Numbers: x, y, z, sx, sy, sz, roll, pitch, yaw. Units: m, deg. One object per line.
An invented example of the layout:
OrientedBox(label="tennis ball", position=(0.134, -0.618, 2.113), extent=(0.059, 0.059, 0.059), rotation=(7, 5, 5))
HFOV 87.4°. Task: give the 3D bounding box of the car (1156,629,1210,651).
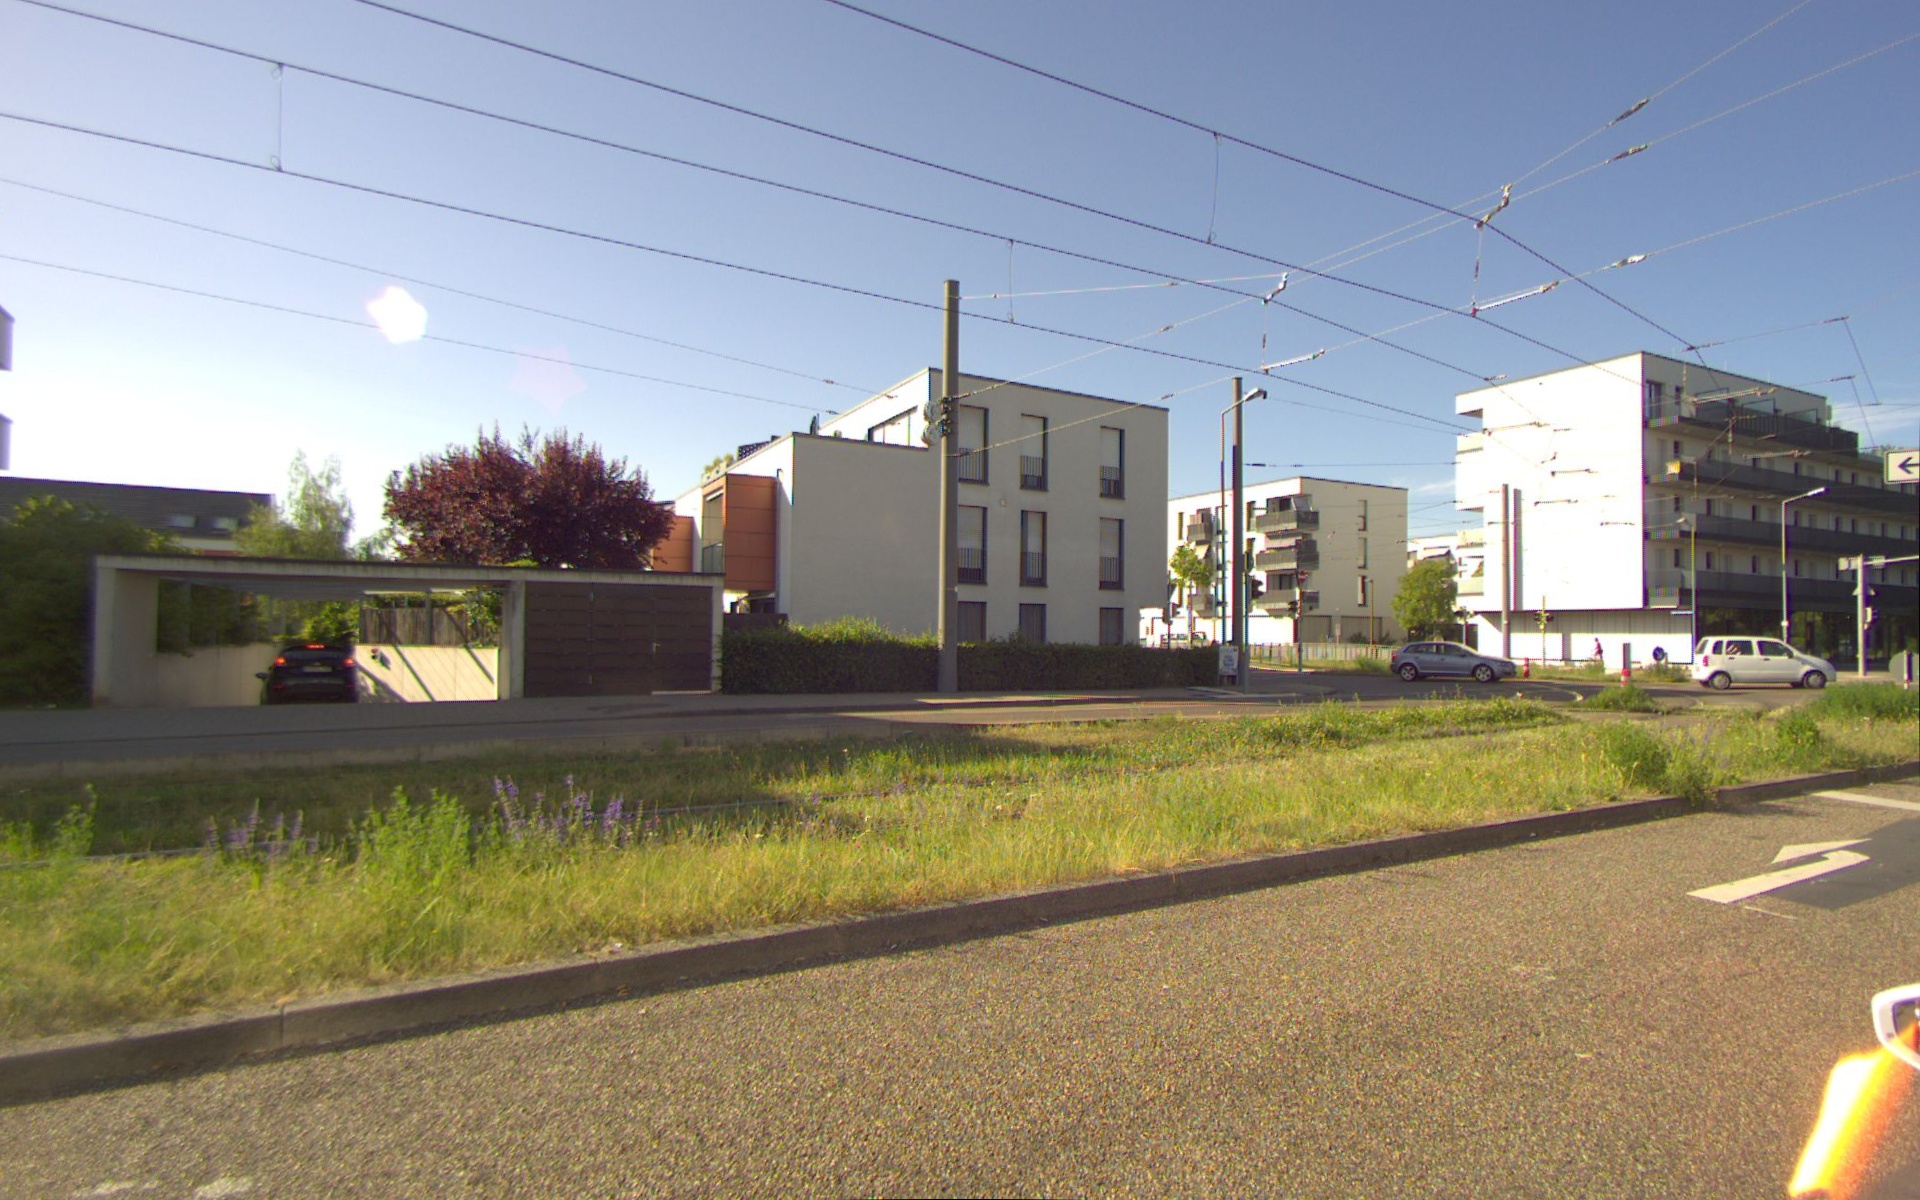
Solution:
OrientedBox(label="car", position=(17.787, 3.186, 80.258), extent=(1.974, 1.595, 4.309), rotation=(2, 0, -27))

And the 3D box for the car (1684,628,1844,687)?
OrientedBox(label="car", position=(25.354, 1.786, 31.845), extent=(3.617, 1.743, 1.868), rotation=(0, -1, 26))

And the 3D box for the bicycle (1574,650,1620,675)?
OrientedBox(label="bicycle", position=(33.189, 3.253, 52.373), extent=(0.815, 1.139, 1.841), rotation=(2, 0, -37))

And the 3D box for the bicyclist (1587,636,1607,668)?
OrientedBox(label="bicyclist", position=(33.207, 2.714, 52.350), extent=(0.778, 1.635, 0.634), rotation=(2, 0, -38))

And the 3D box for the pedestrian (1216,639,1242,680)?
OrientedBox(label="pedestrian", position=(11.106, 2.437, 41.452), extent=(0.762, 1.626, 0.739), rotation=(2, 0, 39))

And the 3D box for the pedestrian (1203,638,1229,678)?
OrientedBox(label="pedestrian", position=(10.717, 2.428, 42.085), extent=(0.762, 1.626, 0.739), rotation=(2, 0, 39))

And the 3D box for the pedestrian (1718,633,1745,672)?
OrientedBox(label="pedestrian", position=(33.948, 2.294, 44.184), extent=(0.615, 1.714, 0.807), rotation=(2, -2, -37))

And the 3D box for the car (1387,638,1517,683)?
OrientedBox(label="car", position=(18.005, 2.172, 36.801), extent=(4.044, 1.505, 1.863), rotation=(-1, -2, 36))

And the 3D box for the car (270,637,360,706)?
OrientedBox(label="car", position=(-14.627, 1.673, 22.761), extent=(1.560, 1.344, 3.966), rotation=(2, -7, -33))
